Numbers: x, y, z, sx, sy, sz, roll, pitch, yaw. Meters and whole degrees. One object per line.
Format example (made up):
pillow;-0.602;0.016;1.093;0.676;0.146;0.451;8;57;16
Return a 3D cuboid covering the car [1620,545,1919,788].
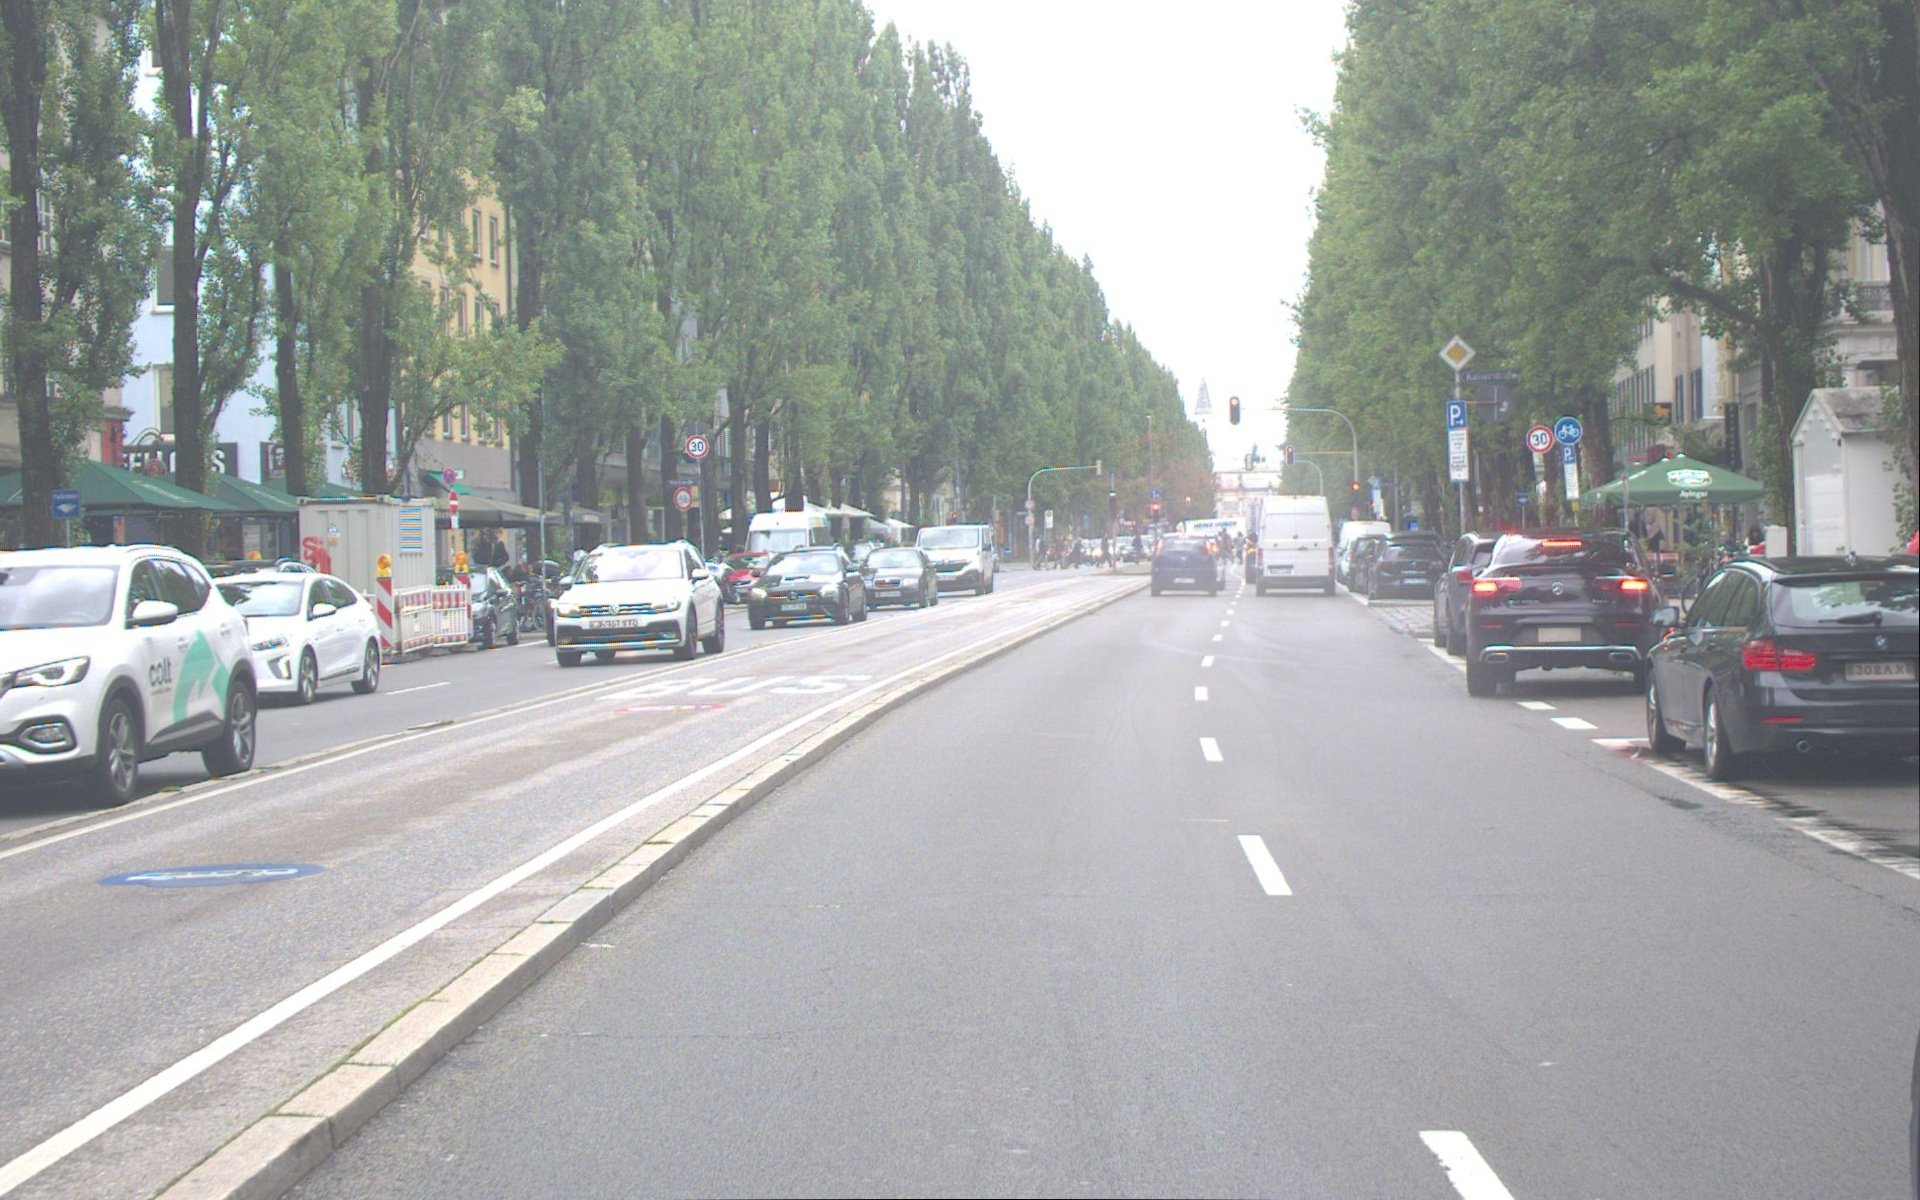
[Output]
car;5.634;0.370;23.044;1.733;1.389;4.433;-2;1;3

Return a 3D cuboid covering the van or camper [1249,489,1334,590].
van or camper;8.441;-1.521;87.867;2.035;2.467;3.999;-1;0;5

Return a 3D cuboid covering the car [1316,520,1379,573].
car;11.856;-1.635;105.341;1.763;1.590;3.999;0;0;5

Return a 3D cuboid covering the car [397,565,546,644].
car;-8.469;0.057;59.885;1.810;1.246;3.700;-1;1;4

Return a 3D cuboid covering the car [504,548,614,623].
car;-7.761;-0.293;66.737;1.512;1.340;3.237;-2;1;4

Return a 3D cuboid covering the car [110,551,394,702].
car;-7.828;0.249;38.449;1.939;1.488;4.456;-2;1;4

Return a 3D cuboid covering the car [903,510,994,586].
car;-0.285;-1.427;94.658;1.994;1.927;4.917;-3;0;5

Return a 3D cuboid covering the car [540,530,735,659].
car;-4.409;-0.120;47.689;1.939;1.636;4.463;-2;1;4

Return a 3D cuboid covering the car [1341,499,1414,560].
car;11.394;-1.910;93.962;1.805;1.590;3.999;0;0;5

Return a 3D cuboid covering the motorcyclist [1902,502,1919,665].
motorcyclist;8.542;-0.152;29.712;0.564;1.401;0.766;-2;1;1

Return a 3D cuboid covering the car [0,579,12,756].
car;-8.935;0.624;25.881;1.940;1.429;4.538;-2;1;5

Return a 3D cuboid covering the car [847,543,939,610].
car;-1.500;-0.546;77.862;1.712;1.409;3.722;-2;1;4

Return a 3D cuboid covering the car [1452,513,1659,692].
car;6.020;-0.030;34.515;1.881;1.636;4.581;-1;1;11

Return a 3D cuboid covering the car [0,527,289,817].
car;-6.045;0.412;22.961;1.860;1.705;4.535;-2;1;4

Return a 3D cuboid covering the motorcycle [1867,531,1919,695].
motorcycle;8.520;0.094;29.600;0.826;1.365;2.253;-2;1;1

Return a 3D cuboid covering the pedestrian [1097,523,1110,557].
pedestrian;7.228;-3.034;172.974;0.553;1.710;0.493;-2;1;6

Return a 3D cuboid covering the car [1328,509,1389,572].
car;12.890;-1.913;111.307;1.805;1.985;3.999;0;0;5

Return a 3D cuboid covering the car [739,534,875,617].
car;-2.885;-0.500;65.886;1.994;1.427;4.771;-2;1;4

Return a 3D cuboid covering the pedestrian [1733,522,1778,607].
pedestrian;15.466;-0.693;66.841;0.669;1.645;0.625;-1;1;32

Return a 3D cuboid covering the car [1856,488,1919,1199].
car;2.549;0.636;4.288;1.761;1.608;4.184;0;1;0

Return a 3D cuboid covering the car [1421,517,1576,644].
car;7.098;-0.297;45.627;1.624;1.560;4.371;-1;1;4

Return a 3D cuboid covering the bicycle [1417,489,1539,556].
bicycle;15.694;-2.350;104.226;3.551;2.007;1.296;0;0;14

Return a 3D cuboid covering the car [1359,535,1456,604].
car;10.272;-0.725;79.133;1.944;1.462;4.000;-2;1;4

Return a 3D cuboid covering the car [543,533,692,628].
car;-6.009;-0.351;60.705;1.849;1.559;4.211;-2;0;5

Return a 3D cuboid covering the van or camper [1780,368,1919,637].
van or camper;11.736;-1.211;42.343;2.461;3.101;4.715;-2;1;6

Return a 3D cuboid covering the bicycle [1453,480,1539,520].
bicycle;14.640;-2.724;94.018;0.759;1.020;2.734;-2;1;-30

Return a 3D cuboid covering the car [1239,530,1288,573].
car;9.624;-1.535;109.057;1.504;1.308;3.283;-1;1;5

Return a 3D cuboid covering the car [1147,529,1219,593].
car;5.736;-0.998;88.179;1.759;1.614;3.746;0;0;5

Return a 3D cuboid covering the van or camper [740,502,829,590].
van or camper;-5.033;-1.569;99.129;1.994;2.450;4.251;-1;1;5
